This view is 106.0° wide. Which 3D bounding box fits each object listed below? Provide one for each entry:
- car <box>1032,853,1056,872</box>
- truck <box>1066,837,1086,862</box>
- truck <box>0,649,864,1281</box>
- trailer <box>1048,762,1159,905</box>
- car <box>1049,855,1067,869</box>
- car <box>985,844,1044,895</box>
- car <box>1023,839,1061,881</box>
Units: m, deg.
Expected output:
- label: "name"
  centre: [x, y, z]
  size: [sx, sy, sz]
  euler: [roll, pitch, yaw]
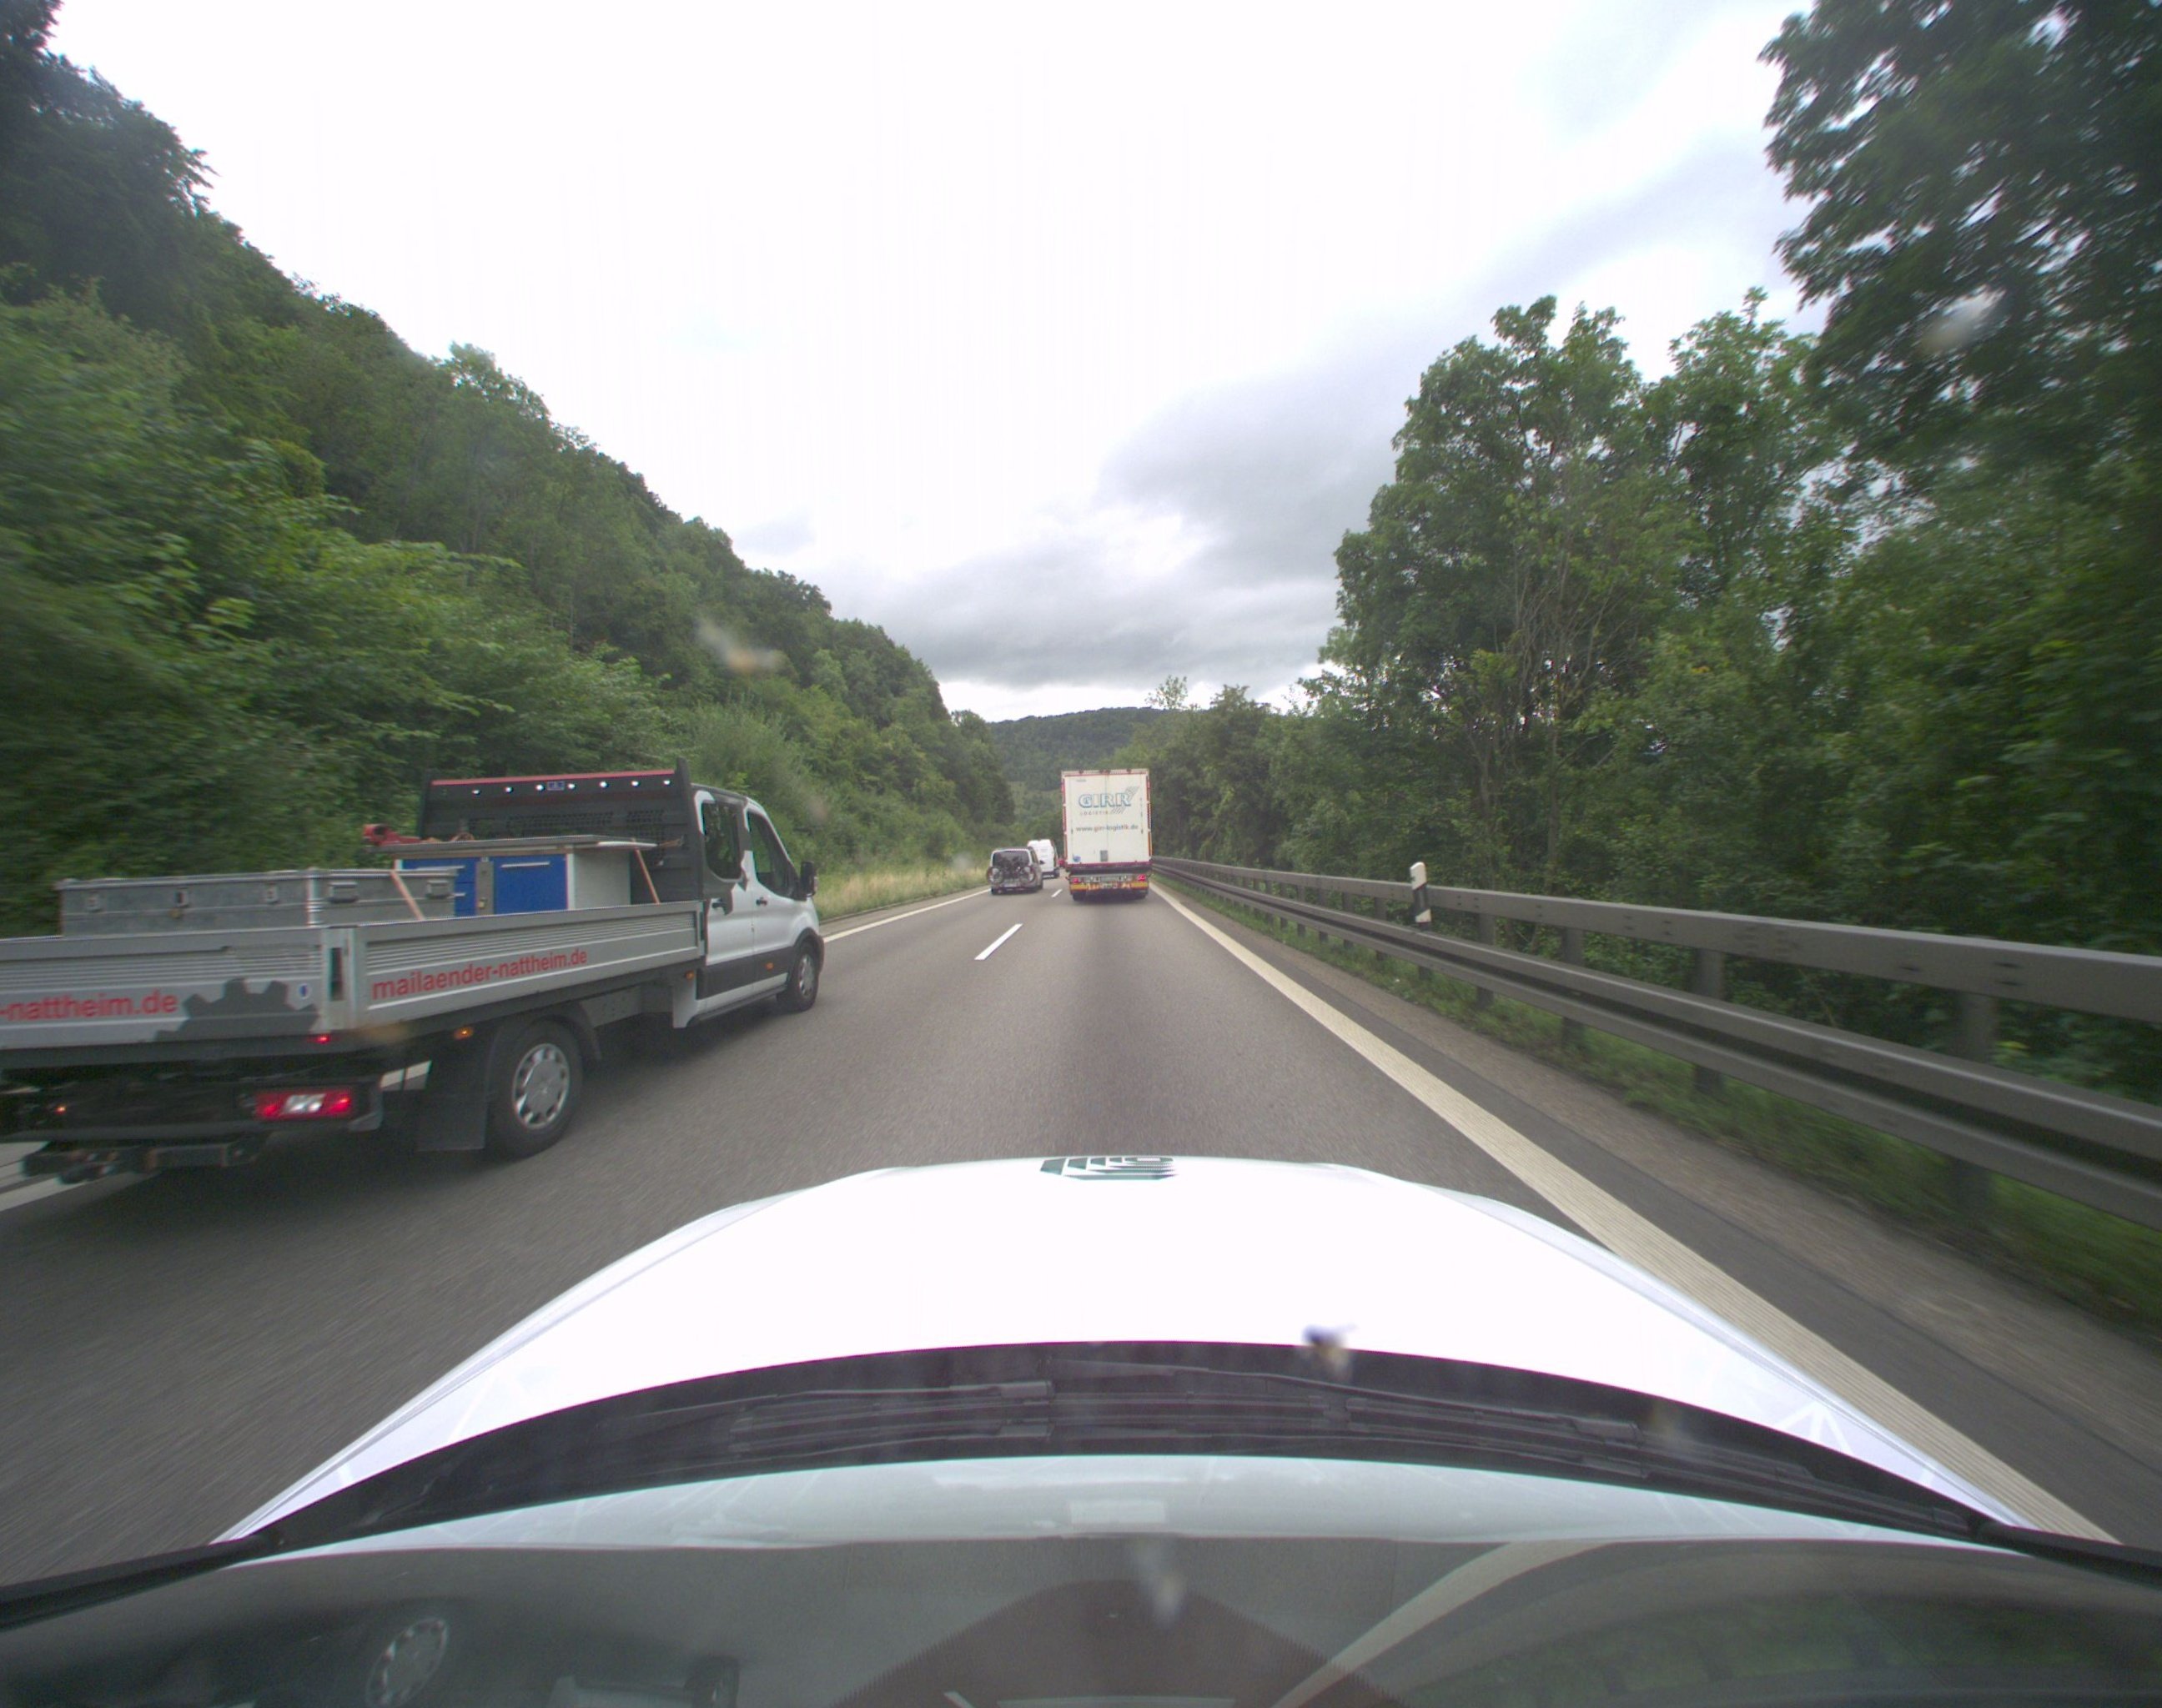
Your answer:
- label: "car"
  centre: [-3.052, 0.709, 67.843]
  size: [1.678, 1.514, 3.765]
  euler: [-3, -1, 0]
- label: "truck"
  centre: [-0.902, -0.728, 138.872]
  size: [3.061, 3.877, 8.450]
  euler: [-3, -1, -2]
- label: "truck"
  centre: [-3.892, 0.457, 6.431]
  size: [2.341, 2.274, 6.849]
  euler: [-3, -1, 1]
- label: "trailer"
  centre: [0.826, -0.602, 28.211]
  size: [3.121, 4.042, 9.444]
  euler: [-1, 0, 2]
- label: "car"
  centre: [-2.419, 0.852, 87.935]
  size: [1.677, 1.452, 3.766]
  euler: [-4, 0, 1]
- label: "car"
  centre: [-2.726, 0.620, 34.691]
  size: [2.012, 1.914, 5.561]
  euler: [-3, 0, -1]
- label: "car"
  centre: [-2.557, 0.368, 55.068]
  size: [2.117, 2.598, 5.563]
  euler: [-4, 0, 0]
